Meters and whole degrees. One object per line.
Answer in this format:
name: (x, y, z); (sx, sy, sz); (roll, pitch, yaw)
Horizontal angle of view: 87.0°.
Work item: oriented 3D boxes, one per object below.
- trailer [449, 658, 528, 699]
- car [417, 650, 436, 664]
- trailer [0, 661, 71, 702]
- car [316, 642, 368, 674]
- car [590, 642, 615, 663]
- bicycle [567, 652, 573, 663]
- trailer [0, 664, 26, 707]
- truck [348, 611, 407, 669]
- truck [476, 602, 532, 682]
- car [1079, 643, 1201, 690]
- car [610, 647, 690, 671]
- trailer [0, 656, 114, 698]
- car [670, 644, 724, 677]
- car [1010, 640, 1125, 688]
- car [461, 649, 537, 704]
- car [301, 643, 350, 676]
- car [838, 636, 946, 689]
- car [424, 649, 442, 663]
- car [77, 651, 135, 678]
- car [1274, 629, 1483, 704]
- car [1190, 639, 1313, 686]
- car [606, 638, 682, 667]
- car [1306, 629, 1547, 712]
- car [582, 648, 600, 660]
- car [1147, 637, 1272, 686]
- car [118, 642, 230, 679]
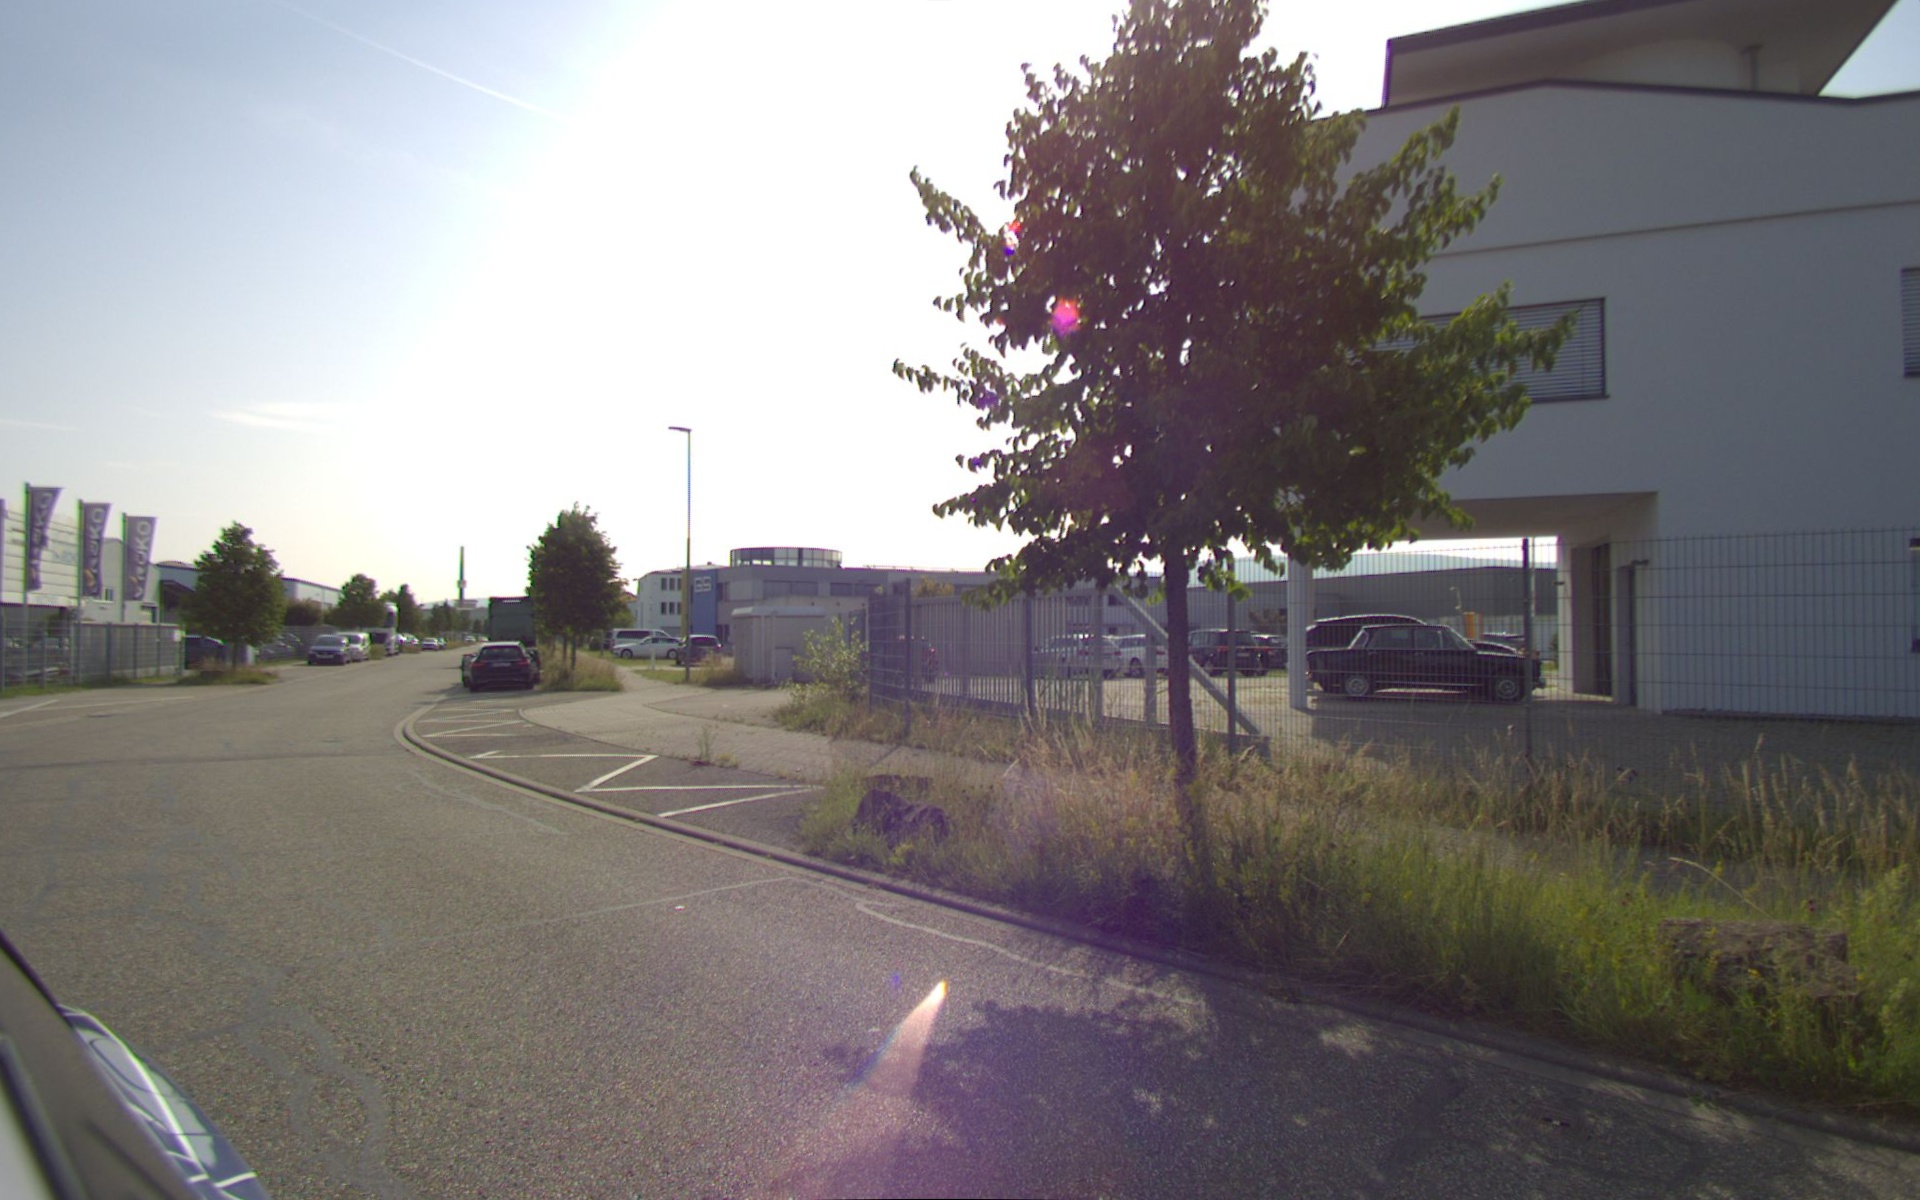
trailer: (-16.948, 2.761, 36.669); (2.100, 1.242, 7.179); (-1, -2, -21)
car: (-60.881, 6.452, 115.453); (1.640, 1.515, 3.552); (3, -4, -24)
trailer: (-31.533, 2.676, 33.540); (1.916, 1.253, 4.307); (1, -3, -25)
car: (-37.515, 3.500, 61.553); (1.965, 1.803, 4.614); (0, -2, -22)
car: (-34.704, 5.106, 98.208); (1.855, 2.029, 5.007); (1, -3, -24)
bicycle: (-37.508, 5.551, 97.395); (0.532, 0.986, 1.876); (0, -3, -20)
trailer: (-29.509, 2.538, 29.383); (2.096, 1.253, 4.811); (1, -3, -25)
truck: (-44.062, 3.104, 76.800); (2.707, 4.046, 9.717); (3, -4, -24)
truck: (-24.716, 2.233, 55.158); (2.421, 3.911, 9.834); (-1, -1, -22)
car: (6.117, 2.287, 34.918); (1.907, 1.506, 4.492); (1, -4, -24)
car: (-19.703, 3.746, 64.343); (4.659, 1.442, 2.006); (1, -3, -25)
trailer: (-33.808, 2.839, 37.892); (1.965, 1.321, 4.578); (0, -2, -22)
car: (-14.149, 3.228, 54.199); (1.965, 1.699, 4.714); (1, -3, -25)
car: (3.522, 2.155, 34.043); (1.807, 1.506, 4.492); (1, -4, -24)
car: (-14.158, 2.298, 31.230); (1.965, 1.478, 4.446); (-1, -2, -23)
car: (-35.706, 3.310, 57.027); (1.800, 1.733, 4.262); (0, -2, -24)
car: (-2.235, 1.988, 32.095); (1.745, 1.537, 4.317); (1, -4, -29)
car: (-63.951, 6.791, 122.859); (1.666, 1.515, 3.552); (3, -4, -24)
car: (-53.289, 4.004, 63.203); (1.862, 1.568, 4.384); (1, -3, -28)
car: (8.910, 1.399, 21.799); (3.973, 1.499, 1.855); (-1, -3, 22)
car: (10.809, 2.334, 37.856); (1.907, 1.616, 4.492); (1, -4, -24)
car: (-20.881, 3.477, 66.864); (4.638, 1.850, 2.110); (1, -3, -23)
car: (8.572, 1.290, 18.903); (3.894, 1.426, 1.551); (-1, -3, 22)
car: (-43.400, 6.331, 118.985); (1.729, 1.420, 3.930); (1, -3, -22)
car: (8.740, 2.176, 35.879); (1.907, 1.616, 4.492); (1, -4, -24)
car: (-39.242, 2.981, 50.659); (4.166, 1.751, 1.905); (1, -3, -31)
